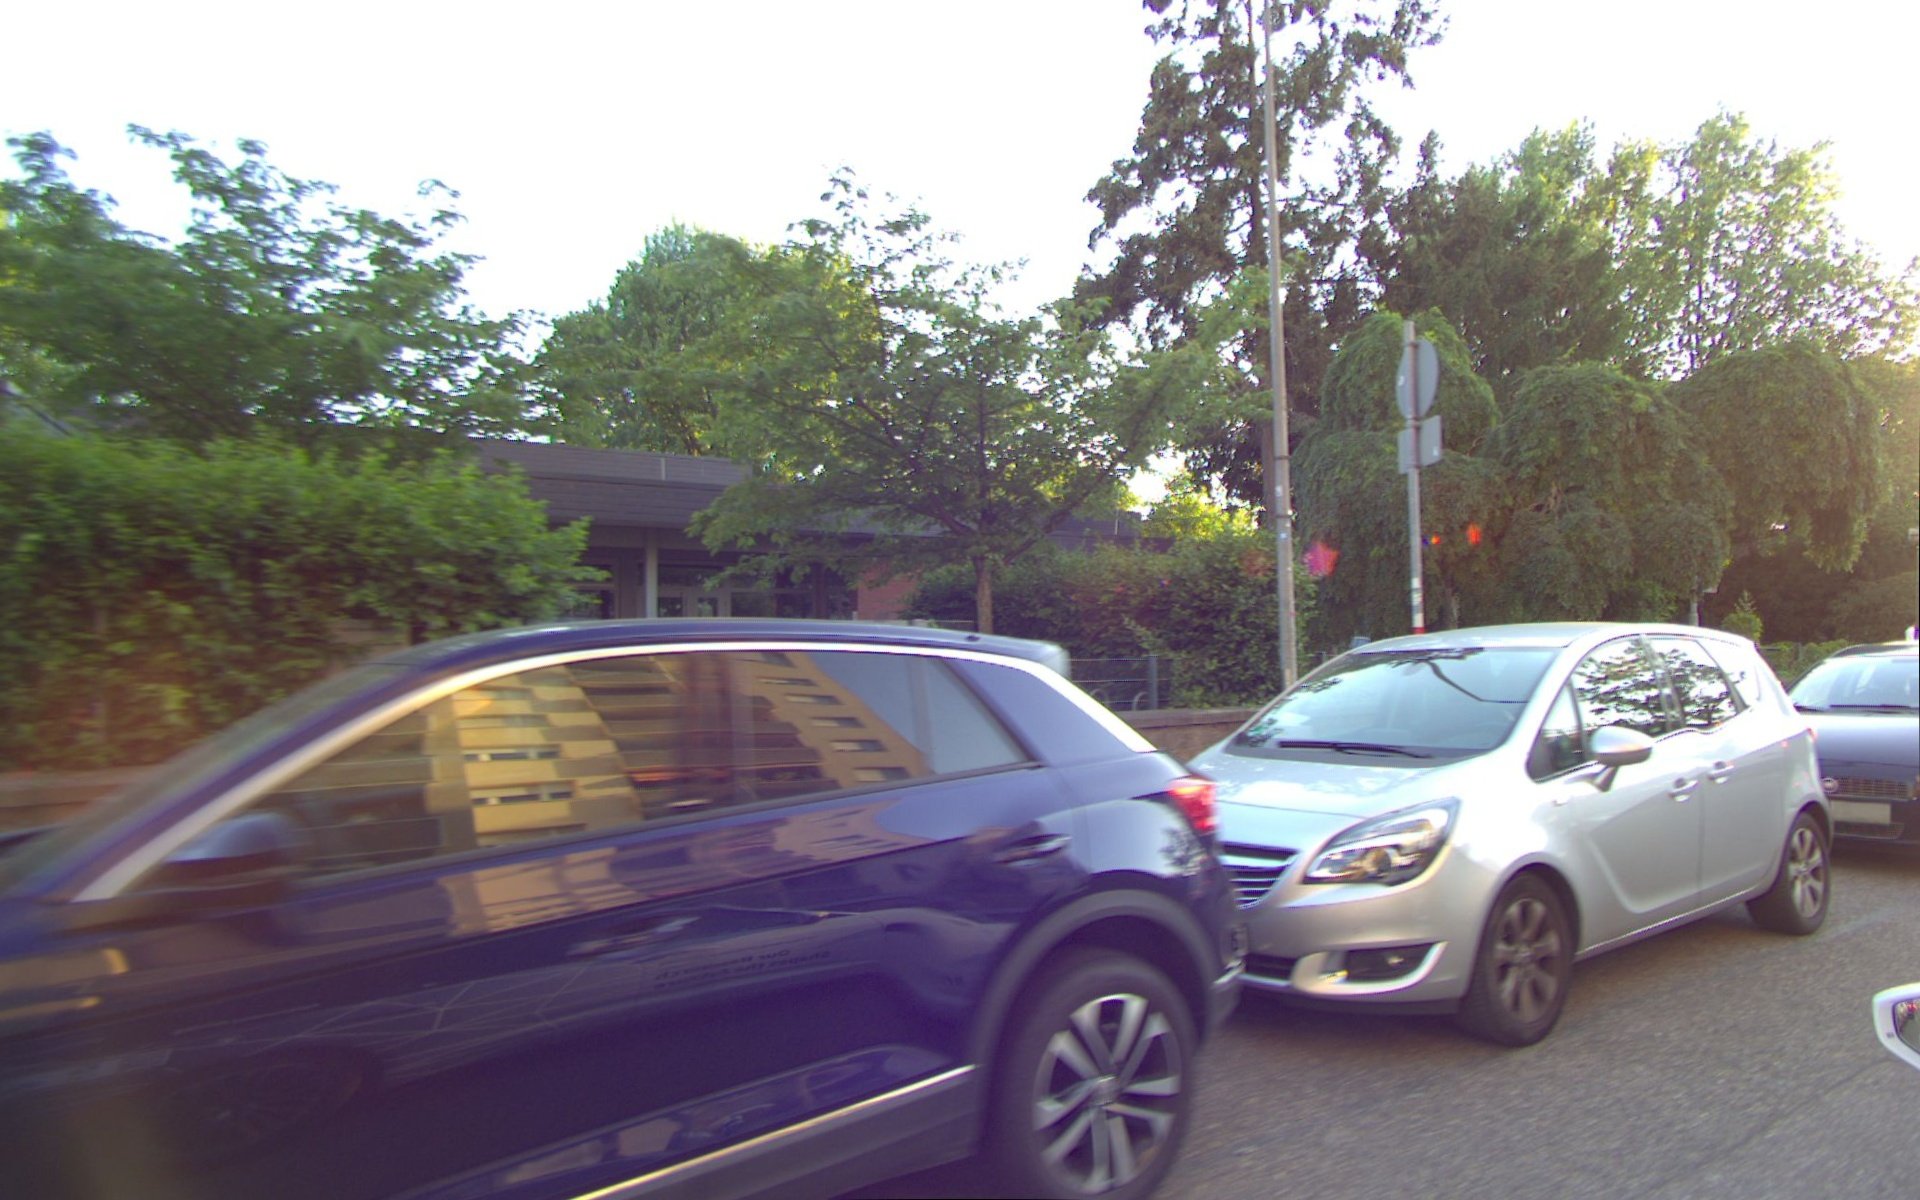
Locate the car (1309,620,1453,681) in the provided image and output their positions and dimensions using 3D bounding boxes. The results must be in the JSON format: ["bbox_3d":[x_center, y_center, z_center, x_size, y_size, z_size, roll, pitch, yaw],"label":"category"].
[{"bbox_3d":[13.744,1.695,33.006,1.801,1.821,4.212,4,-5,-28],"label":"car"}]

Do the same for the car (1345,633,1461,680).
[{"bbox_3d":[17.610,2.235,40.093,1.799,1.583,3.857,-6,0,-27],"label":"car"}]

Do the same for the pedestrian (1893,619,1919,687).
[{"bbox_3d":[26.195,1.442,27.648,0.613,1.833,0.590,0,-1,-29],"label":"pedestrian"}]

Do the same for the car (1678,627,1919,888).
[{"bbox_3d":[7.154,1.008,7.478,3.658,1.587,1.724,1,-4,-34],"label":"car"}]

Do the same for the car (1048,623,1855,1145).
[{"bbox_3d":[2.575,0.942,4.951,4.086,1.587,1.724,1,-4,-34],"label":"car"}]

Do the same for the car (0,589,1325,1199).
[{"bbox_3d":[-1.120,0.838,2.555,4.123,1.587,1.724,1,-4,-34],"label":"car"}]
